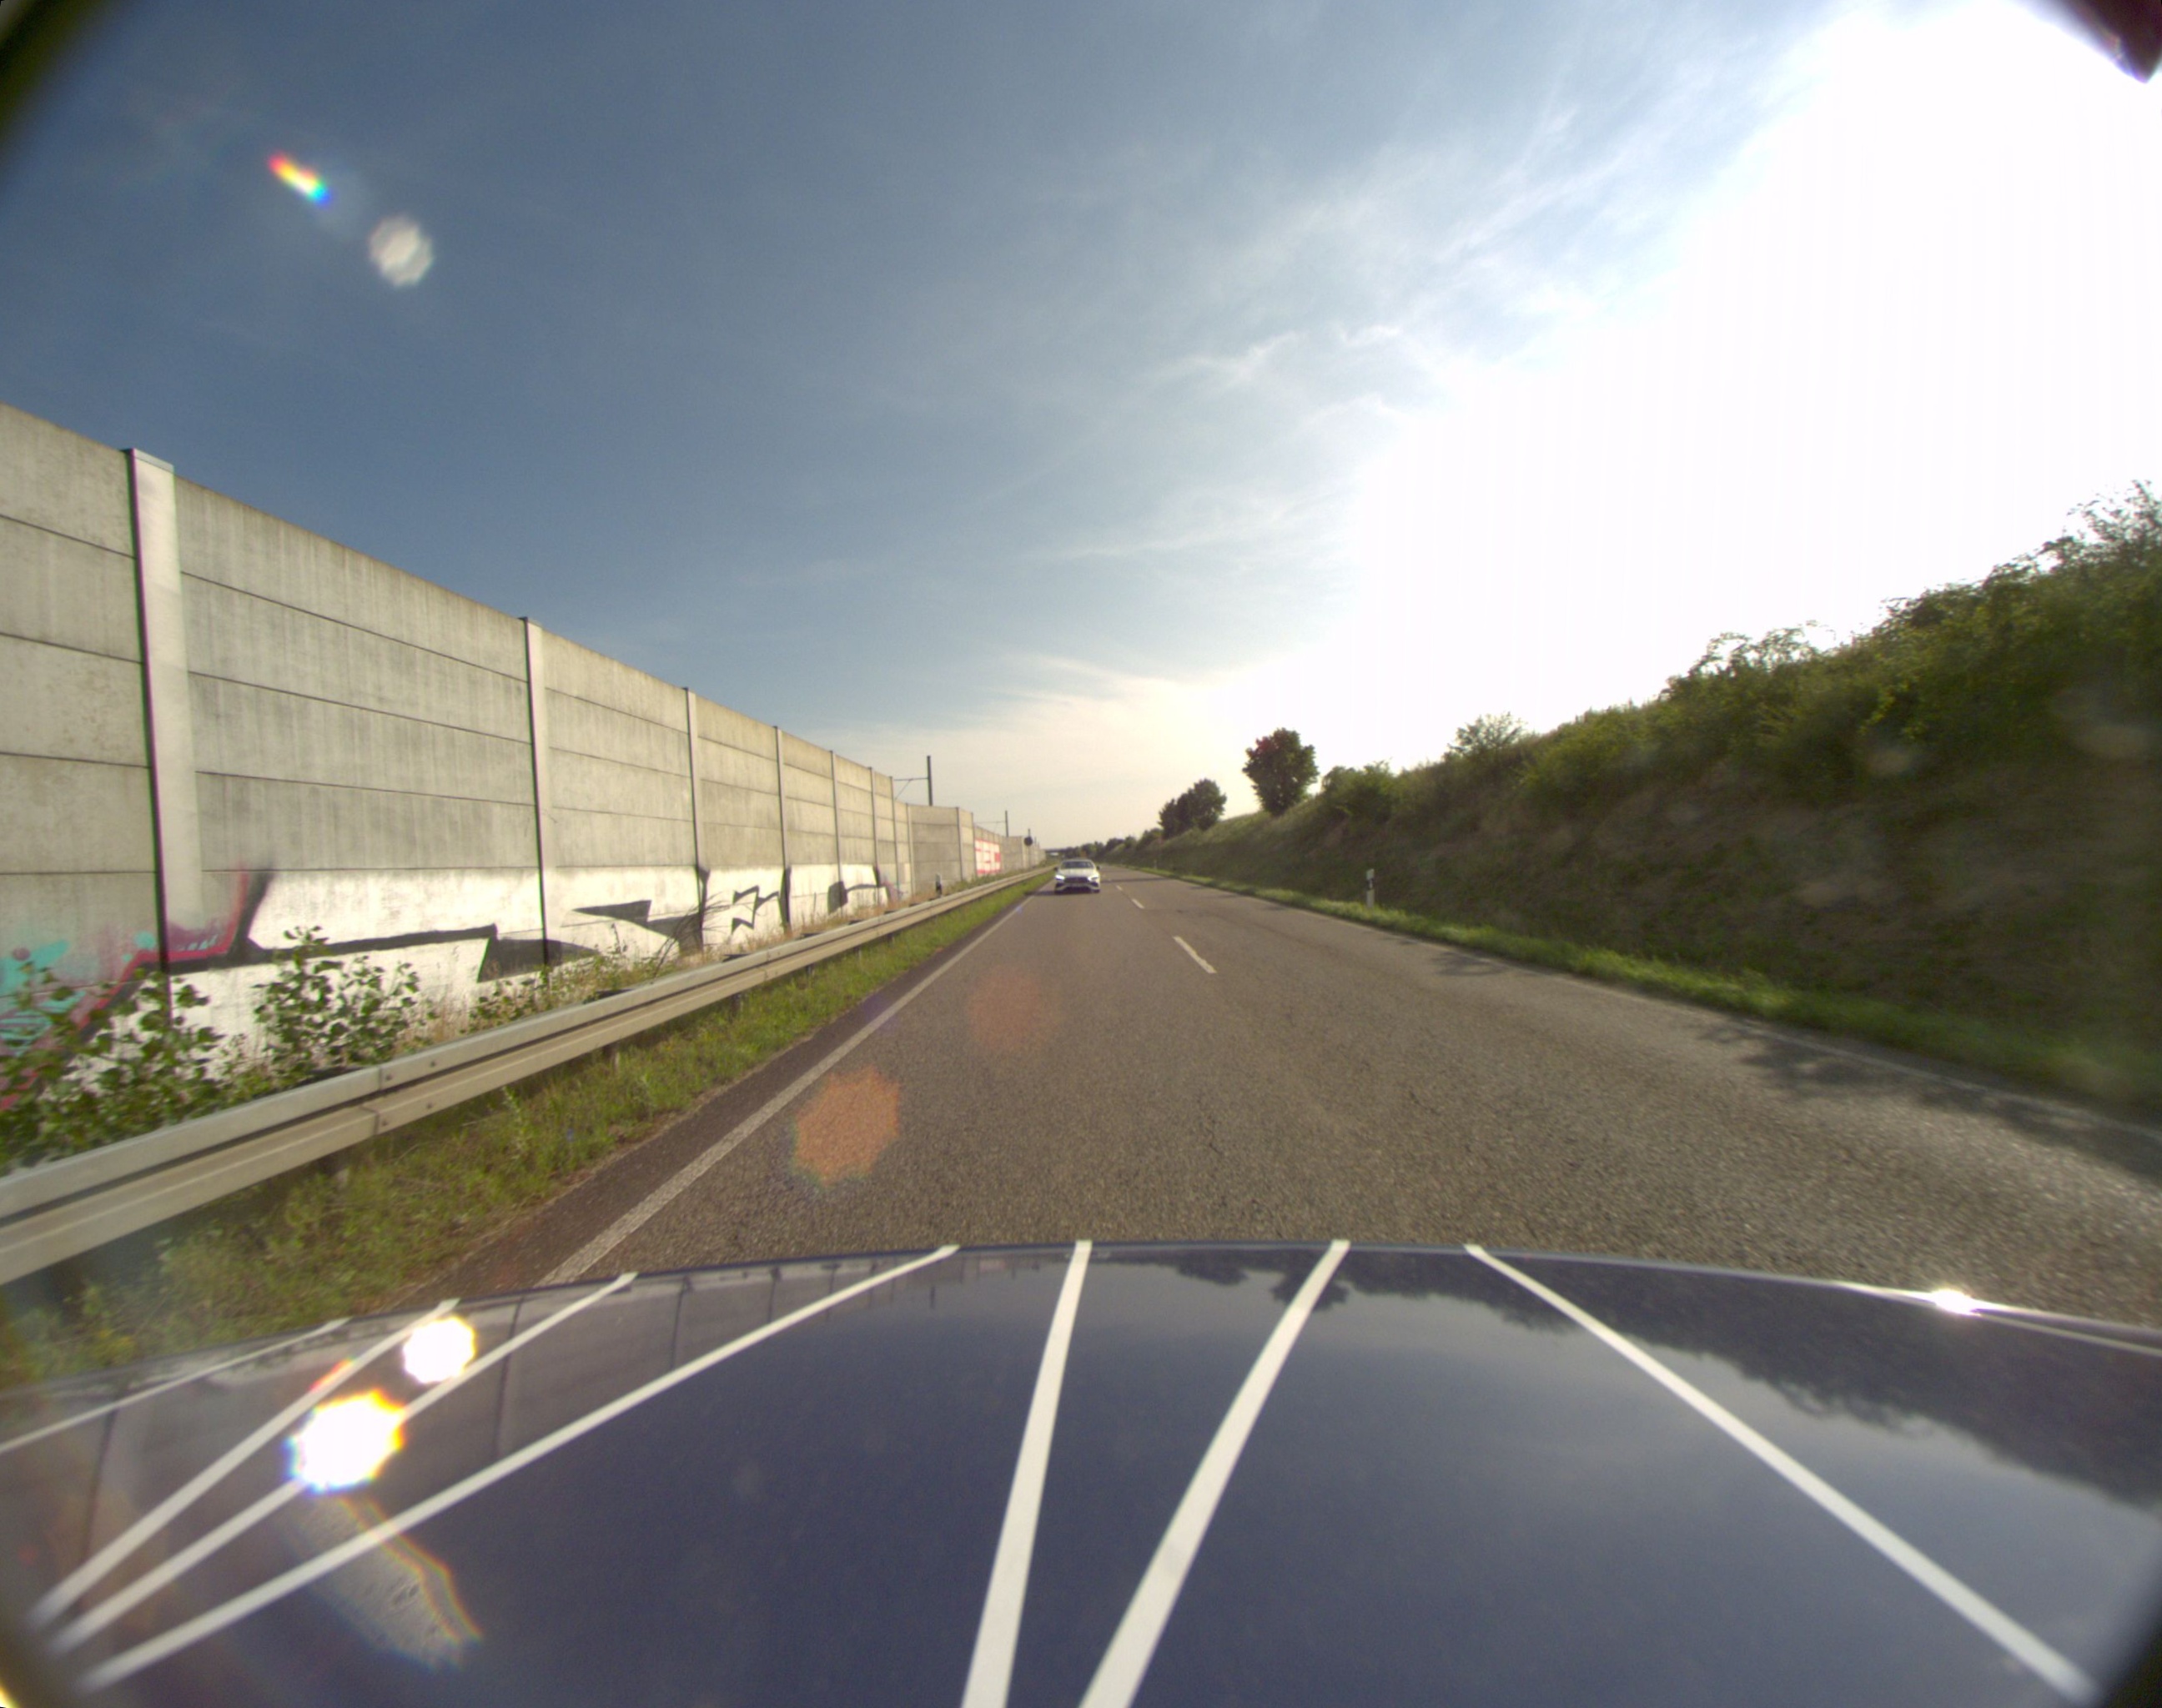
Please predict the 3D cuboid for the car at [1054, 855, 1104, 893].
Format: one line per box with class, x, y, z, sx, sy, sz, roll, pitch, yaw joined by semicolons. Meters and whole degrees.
car;-0.150;0.817;33.030;1.930;1.398;4.973;-3;0;-2
